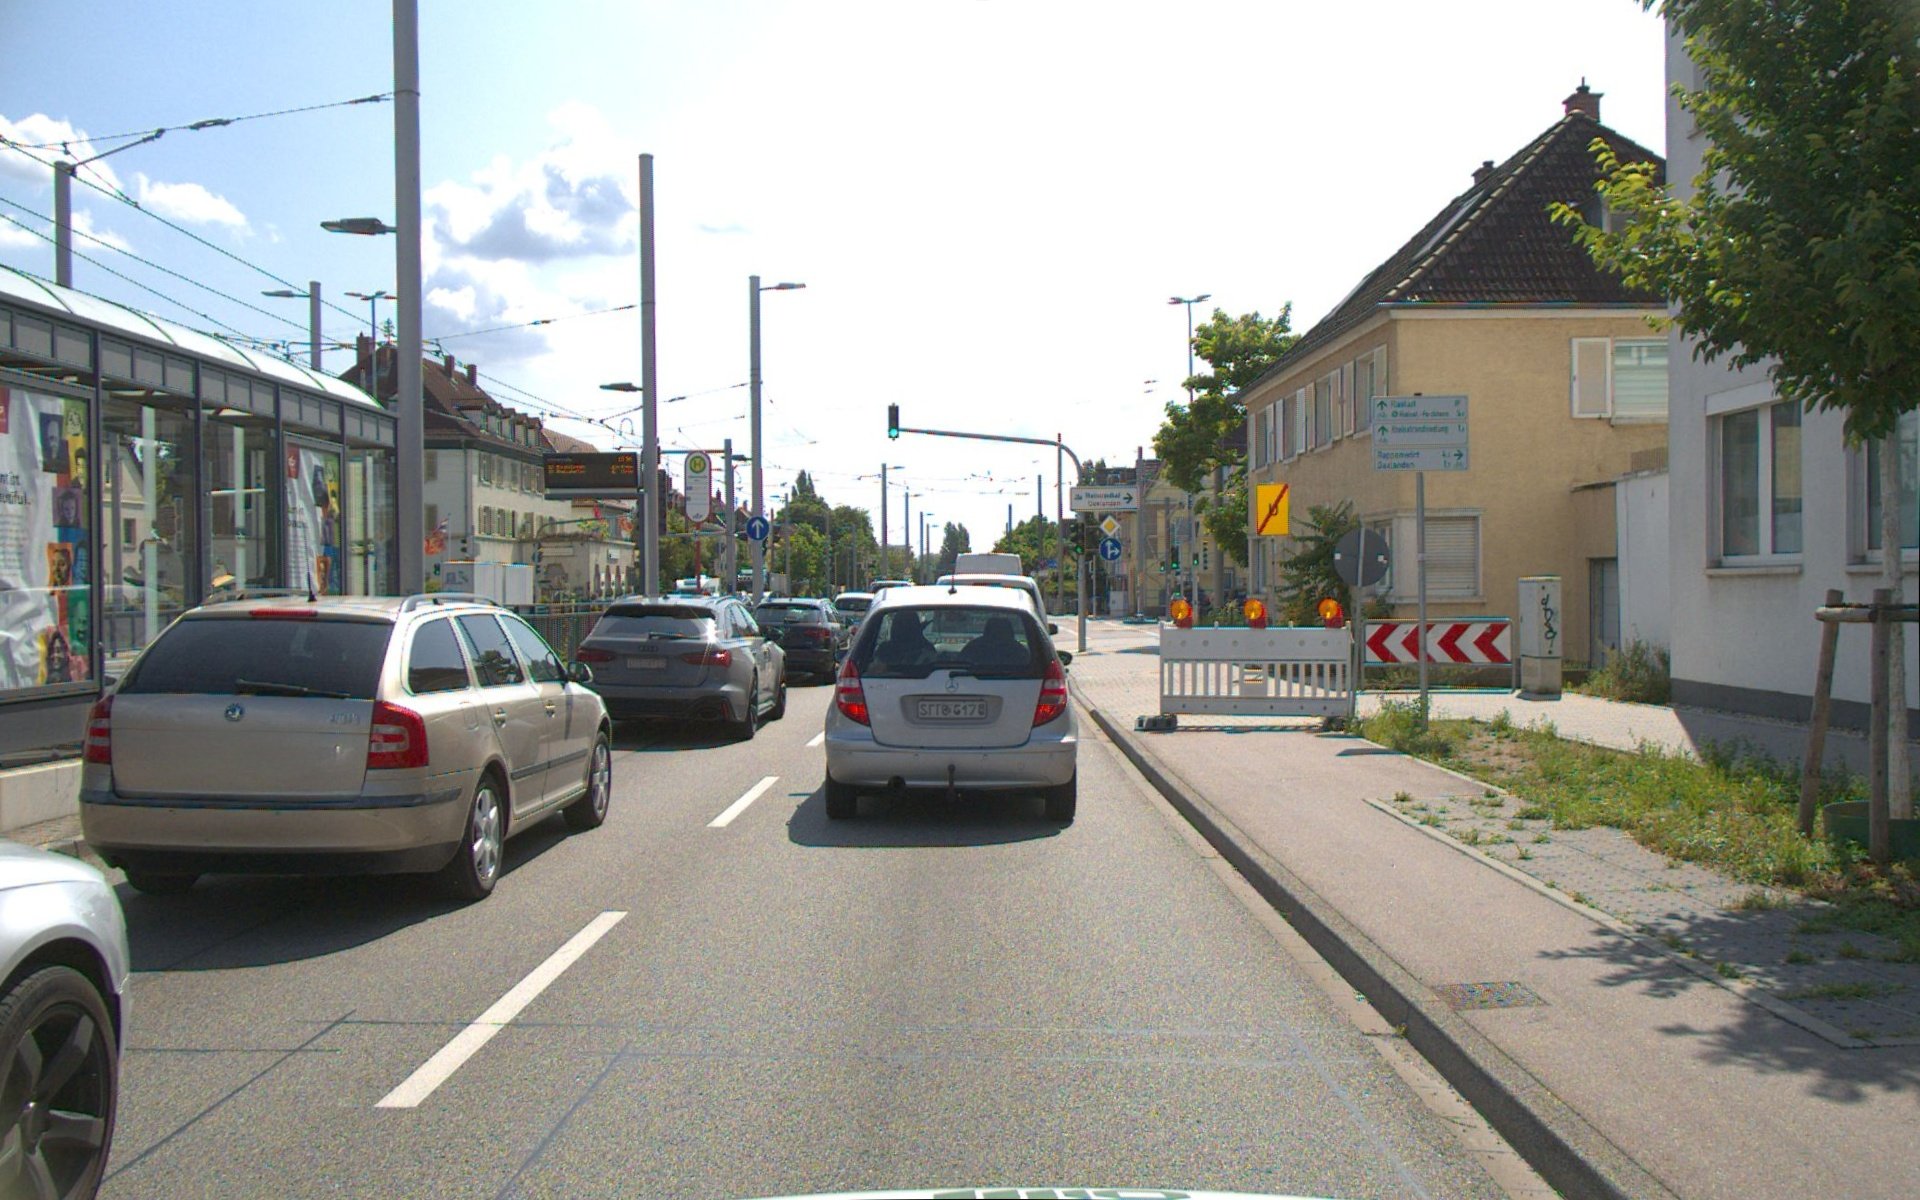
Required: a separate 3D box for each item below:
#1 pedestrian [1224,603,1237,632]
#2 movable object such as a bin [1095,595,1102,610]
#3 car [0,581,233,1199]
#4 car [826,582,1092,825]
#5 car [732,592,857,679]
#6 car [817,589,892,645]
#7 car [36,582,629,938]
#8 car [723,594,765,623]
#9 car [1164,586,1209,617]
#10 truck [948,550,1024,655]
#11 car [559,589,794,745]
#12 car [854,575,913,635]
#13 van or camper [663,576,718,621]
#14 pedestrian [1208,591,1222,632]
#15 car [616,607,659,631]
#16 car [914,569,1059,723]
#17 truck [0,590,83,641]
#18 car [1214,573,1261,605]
[{"bbox_3d":[11.066,0.719,67.695,0.477,1.156,0.389,1,-1,2],"label":"pedestrian"},{"bbox_3d":[8.915,0.156,106.503,0.458,0.963,0.558,-1,-1,1],"label":"movable object such as a bin"},{"bbox_3d":[-2.782,0.688,1.998,1.758,1.497,4.721,1,0,-1],"label":"car"},{"bbox_3d":[-0.049,0.679,12.682,1.695,1.543,4.015,1,0,-1],"label":"car"},{"bbox_3d":[-2.878,0.594,29.630,1.814,1.413,4.513,1,0,-1],"label":"car"},{"bbox_3d":[-2.817,0.444,44.783,1.814,1.413,3.917,1,0,-1],"label":"car"},{"bbox_3d":[-3.050,0.686,9.028,1.696,1.474,4.122,1,0,-1],"label":"car"},{"bbox_3d":[-14.454,0.576,111.031,1.952,1.807,4.880,-2,0,2],"label":"car"},{"bbox_3d":[12.280,0.082,89.815,1.952,1.624,4.131,1,0,1],"label":"car"},{"bbox_3d":[0.619,0.076,44.159,1.814,2.597,5.854,1,0,-1],"label":"truck"},{"bbox_3d":[-3.010,0.660,18.518,1.877,1.503,4.561,1,0,-1],"label":"car"},{"bbox_3d":[-2.527,0.171,55.157,1.814,1.875,3.917,1,0,-1],"label":"car"},{"bbox_3d":[-18.556,-0.110,114.164,2.276,2.981,7.755,-2,0,1],"label":"van or camper"},{"bbox_3d":[10.416,0.461,67.610,0.535,1.672,0.401,1,-1,5],"label":"pedestrian"},{"bbox_3d":[-19.182,1.115,98.537,1.649,1.375,4.345,1,0,1],"label":"car"},{"bbox_3d":[0.269,0.554,21.606,1.695,1.793,4.015,1,0,-1],"label":"car"},{"bbox_3d":[-38.178,0.572,65.478,6.055,1.955,1.690,1,-1,3],"label":"truck"},{"bbox_3d":[15.060,-0.587,89.974,1.952,1.624,4.131,1,0,1],"label":"car"}]
